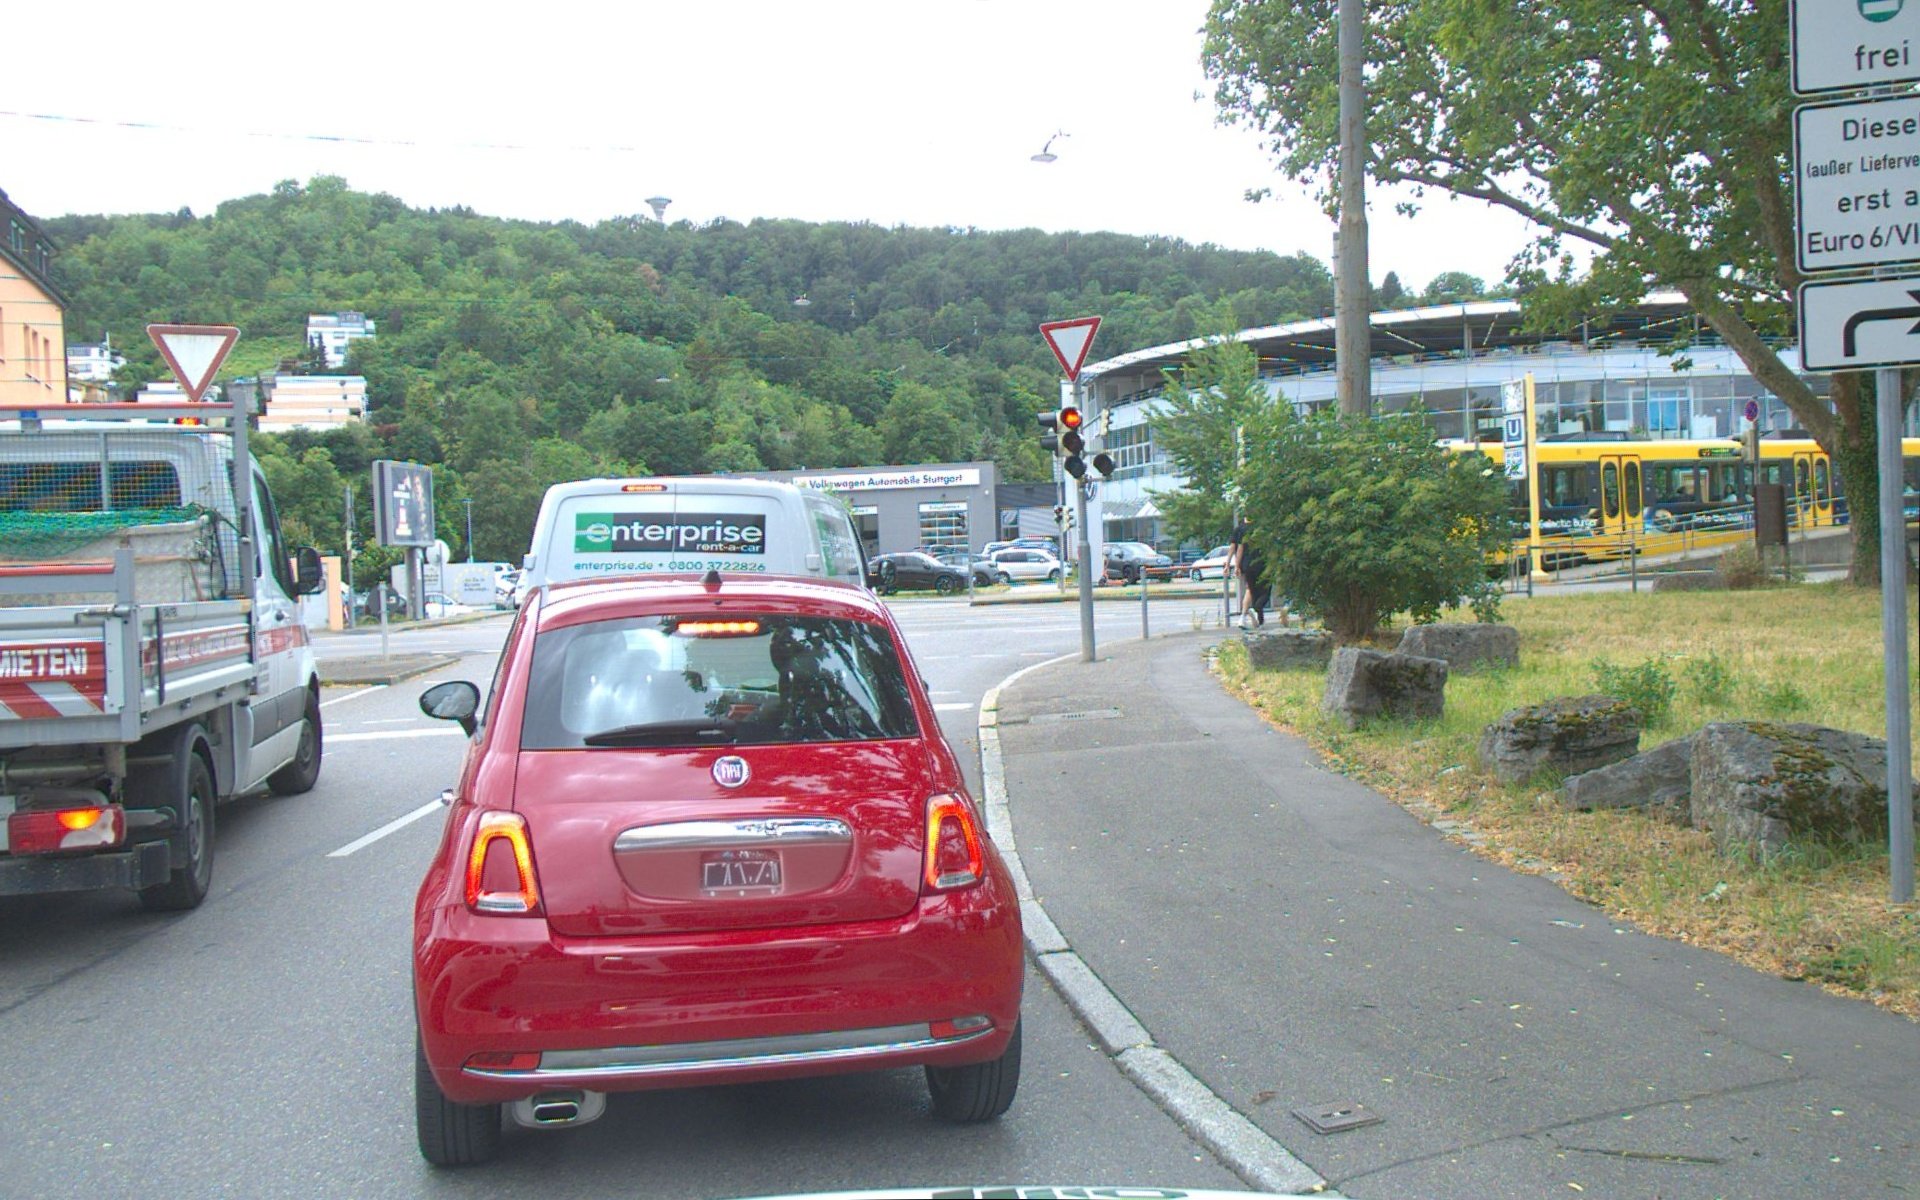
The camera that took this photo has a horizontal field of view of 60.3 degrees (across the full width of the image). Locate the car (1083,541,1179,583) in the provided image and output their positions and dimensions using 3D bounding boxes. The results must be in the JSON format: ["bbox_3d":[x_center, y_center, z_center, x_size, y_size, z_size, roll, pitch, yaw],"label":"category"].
[{"bbox_3d":[6.714,-1.482,65.258,1.754,1.526,3.837,-3,2,-33],"label":"car"}]

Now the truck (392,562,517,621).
[{"bbox_3d":[-23.130,-0.419,75.701,5.127,2.434,1.981,-3,2,-29],"label":"truck"}]

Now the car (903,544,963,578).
[{"bbox_3d":[-1.579,-2.368,99.563,1.954,1.847,3.997,-2,2,26],"label":"car"}]

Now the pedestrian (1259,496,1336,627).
[{"bbox_3d":[4.675,-0.534,22.884,0.683,1.770,0.784,-2,2,42],"label":"pedestrian"}]

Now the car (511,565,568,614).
[{"bbox_3d":[-17.288,-0.464,68.144,1.826,1.849,4.393,-3,2,-9],"label":"car"}]

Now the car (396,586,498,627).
[{"bbox_3d":[-22.480,0.279,72.638,4.135,1.560,1.768,-3,2,-16],"label":"car"}]

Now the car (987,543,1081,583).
[{"bbox_3d":[3.759,-1.904,84.691,4.696,1.834,1.776,-2,1,2],"label":"car"}]

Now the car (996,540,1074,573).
[{"bbox_3d":[4.584,-2.663,101.093,4.696,1.834,1.776,-2,1,2],"label":"car"}]

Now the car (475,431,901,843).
[{"bbox_3d":[-1.562,0.141,11.377,1.948,2.143,4.763,-3,1,1],"label":"car"}]

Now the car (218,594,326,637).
[{"bbox_3d":[-29.240,0.653,70.376,4.146,1.560,1.763,-3,2,-23],"label":"car"}]

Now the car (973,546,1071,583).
[{"bbox_3d":[3.060,-1.747,81.135,4.696,1.560,1.776,-2,1,2],"label":"car"}]

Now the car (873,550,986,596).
[{"bbox_3d":[-1.136,-0.993,61.375,3.787,1.526,1.777,-2,1,16],"label":"car"}]

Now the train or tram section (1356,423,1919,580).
[{"bbox_3d":[19.781,-2.860,45.989,18.859,3.729,3.254,-3,2,-24],"label":"train or tram section"}]

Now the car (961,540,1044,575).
[{"bbox_3d":[2.475,-2.492,96.275,4.696,1.834,1.776,-2,1,2],"label":"car"}]

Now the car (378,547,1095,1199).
[{"bbox_3d":[-0.815,0.614,5.511,1.610,1.482,3.421,-2,1,-12],"label":"car"}]

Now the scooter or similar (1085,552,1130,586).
[{"bbox_3d":[5.559,-1.168,62.396,1.633,1.198,0.468,-2,1,6],"label":"scooter or similar"}]

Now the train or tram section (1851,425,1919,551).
[{"bbox_3d":[36.960,-3.832,53.650,18.859,3.729,3.254,-3,2,-24],"label":"train or tram section"}]

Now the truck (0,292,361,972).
[{"bbox_3d":[-4.832,0.118,8.699,2.381,2.439,6.008,-3,1,-14],"label":"truck"}]

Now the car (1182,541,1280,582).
[{"bbox_3d":[10.955,-1.553,67.033,1.753,1.526,3.979,-3,2,-31],"label":"car"}]

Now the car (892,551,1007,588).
[{"bbox_3d":[-0.453,-1.309,70.626,4.572,1.351,1.777,-2,1,13],"label":"car"}]

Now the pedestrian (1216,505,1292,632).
[{"bbox_3d":[4.156,-0.450,23.359,0.683,1.744,0.783,-2,2,44],"label":"pedestrian"}]

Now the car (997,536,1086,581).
[{"bbox_3d":[4.435,-2.242,89.852,4.696,2.194,2.234,-2,1,2],"label":"car"}]

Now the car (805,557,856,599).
[{"bbox_3d":[-6.128,-1.080,78.752,1.952,1.847,4.001,-2,2,1],"label":"car"}]

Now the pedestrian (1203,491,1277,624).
[{"bbox_3d":[4.083,-0.628,24.104,0.682,1.889,0.785,-2,1,39],"label":"pedestrian"}]
